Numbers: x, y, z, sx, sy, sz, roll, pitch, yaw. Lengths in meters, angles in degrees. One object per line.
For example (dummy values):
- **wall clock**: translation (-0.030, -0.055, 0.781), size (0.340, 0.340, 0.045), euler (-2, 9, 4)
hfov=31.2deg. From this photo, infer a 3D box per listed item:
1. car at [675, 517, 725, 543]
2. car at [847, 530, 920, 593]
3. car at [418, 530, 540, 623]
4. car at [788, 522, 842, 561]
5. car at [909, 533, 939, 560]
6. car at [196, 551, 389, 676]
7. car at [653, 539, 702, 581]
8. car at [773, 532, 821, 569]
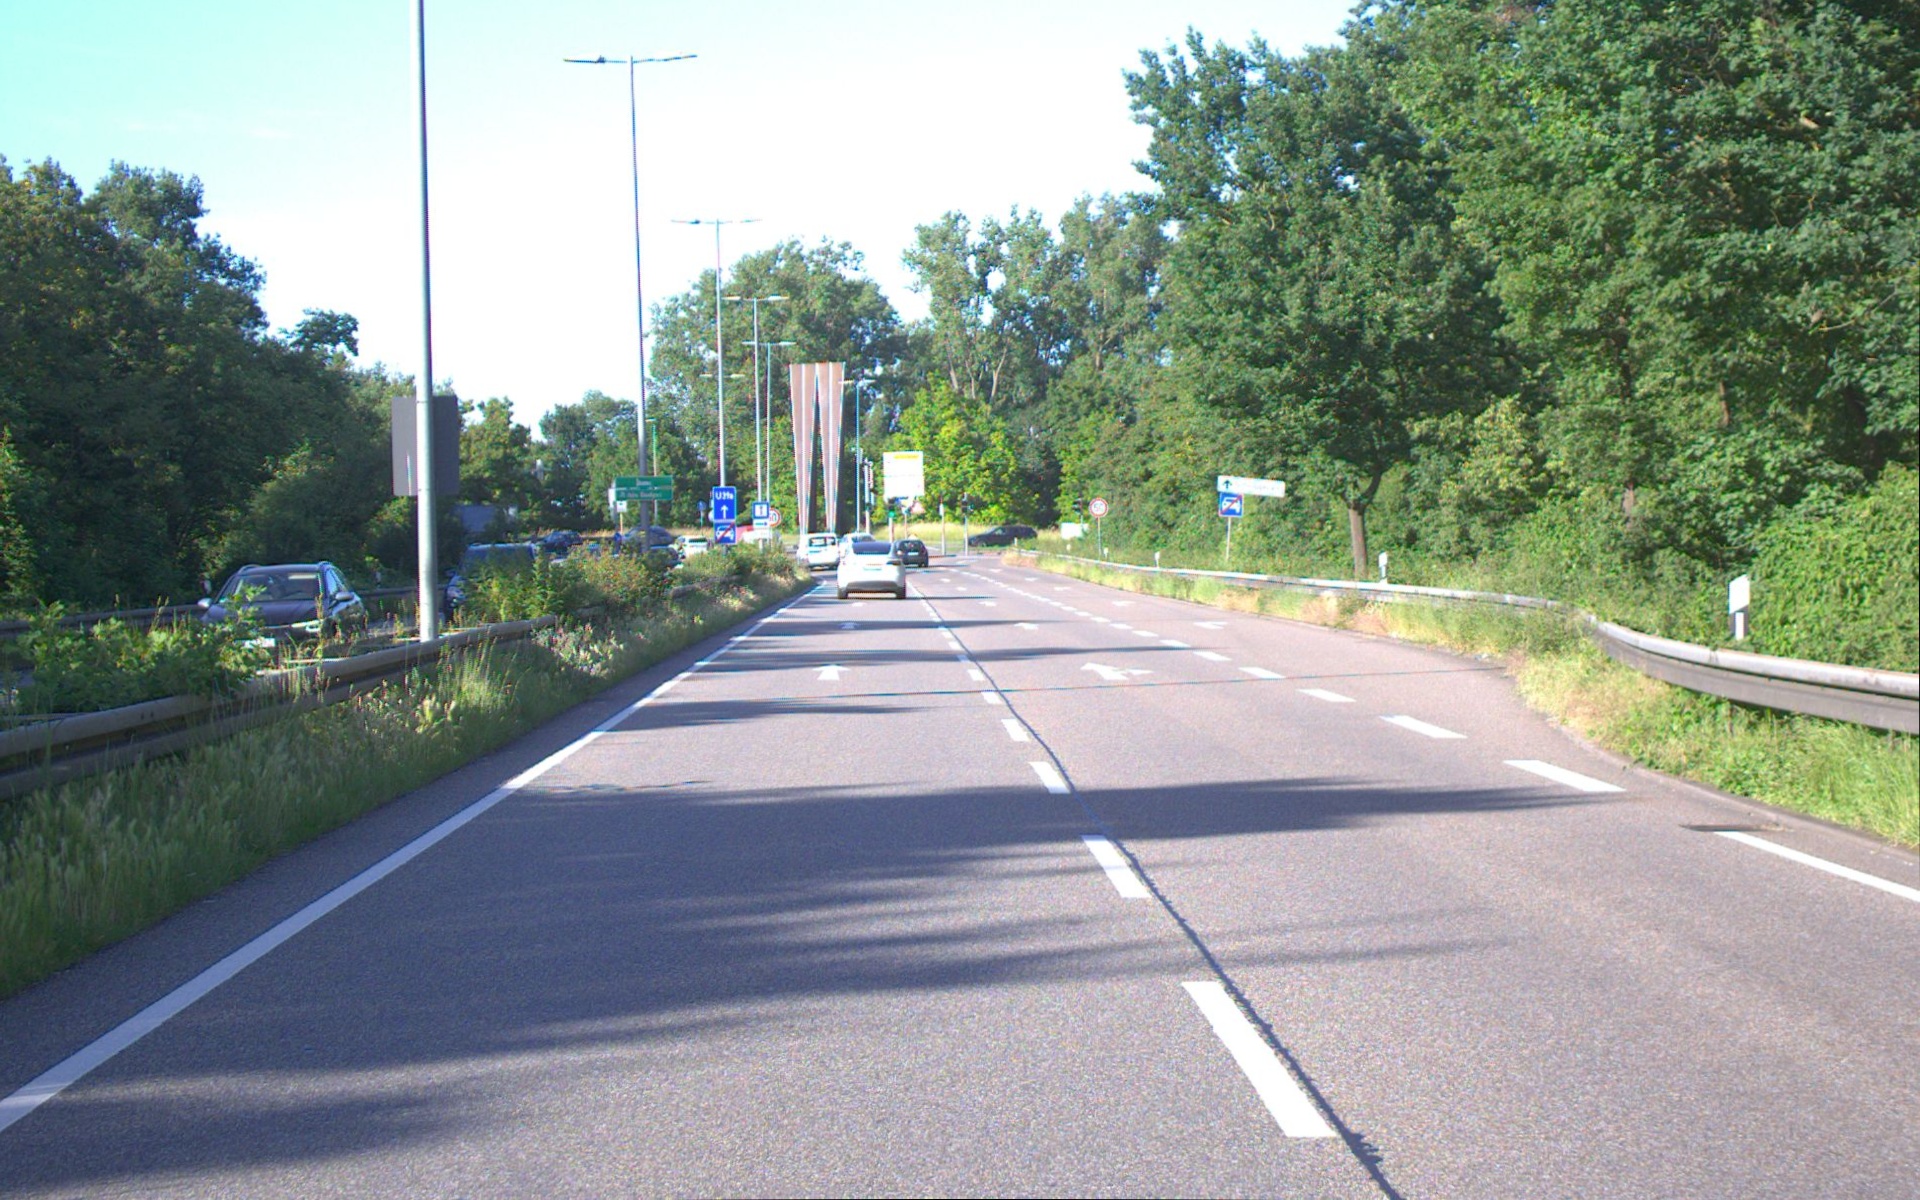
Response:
- **car**: translation (-15.746, -4.214, 208.009), size (2.265, 1.503, 4.001), euler (-2, 1, -16)
- **car**: translation (-2.189, -1.119, 97.475), size (1.993, 1.634, 4.129), euler (-2, 2, -2)
- **car**: translation (-9.606, -0.501, 68.978), size (1.841, 1.751, 4.712), euler (-1, 1, -1)
- **car**: translation (-7.339, -2.980, 173.942), size (1.993, 1.873, 4.250), euler (-2, 2, -12)
- **car**: translation (-1.786, -2.643, 170.697), size (1.388, 1.276, 2.987), euler (2, 0, -2)
- **car**: translation (-8.861, 0.141, 45.995), size (1.618, 1.525, 4.609), euler (-1, 1, 0)
- **car**: translation (-11.993, -1.717, 145.930), size (1.785, 1.704, 4.547), euler (-1, 1, -1)
- **car**: translation (-9.261, -2.808, 195.299), size (1.993, 2.007, 4.001), euler (1, 0, -13)
